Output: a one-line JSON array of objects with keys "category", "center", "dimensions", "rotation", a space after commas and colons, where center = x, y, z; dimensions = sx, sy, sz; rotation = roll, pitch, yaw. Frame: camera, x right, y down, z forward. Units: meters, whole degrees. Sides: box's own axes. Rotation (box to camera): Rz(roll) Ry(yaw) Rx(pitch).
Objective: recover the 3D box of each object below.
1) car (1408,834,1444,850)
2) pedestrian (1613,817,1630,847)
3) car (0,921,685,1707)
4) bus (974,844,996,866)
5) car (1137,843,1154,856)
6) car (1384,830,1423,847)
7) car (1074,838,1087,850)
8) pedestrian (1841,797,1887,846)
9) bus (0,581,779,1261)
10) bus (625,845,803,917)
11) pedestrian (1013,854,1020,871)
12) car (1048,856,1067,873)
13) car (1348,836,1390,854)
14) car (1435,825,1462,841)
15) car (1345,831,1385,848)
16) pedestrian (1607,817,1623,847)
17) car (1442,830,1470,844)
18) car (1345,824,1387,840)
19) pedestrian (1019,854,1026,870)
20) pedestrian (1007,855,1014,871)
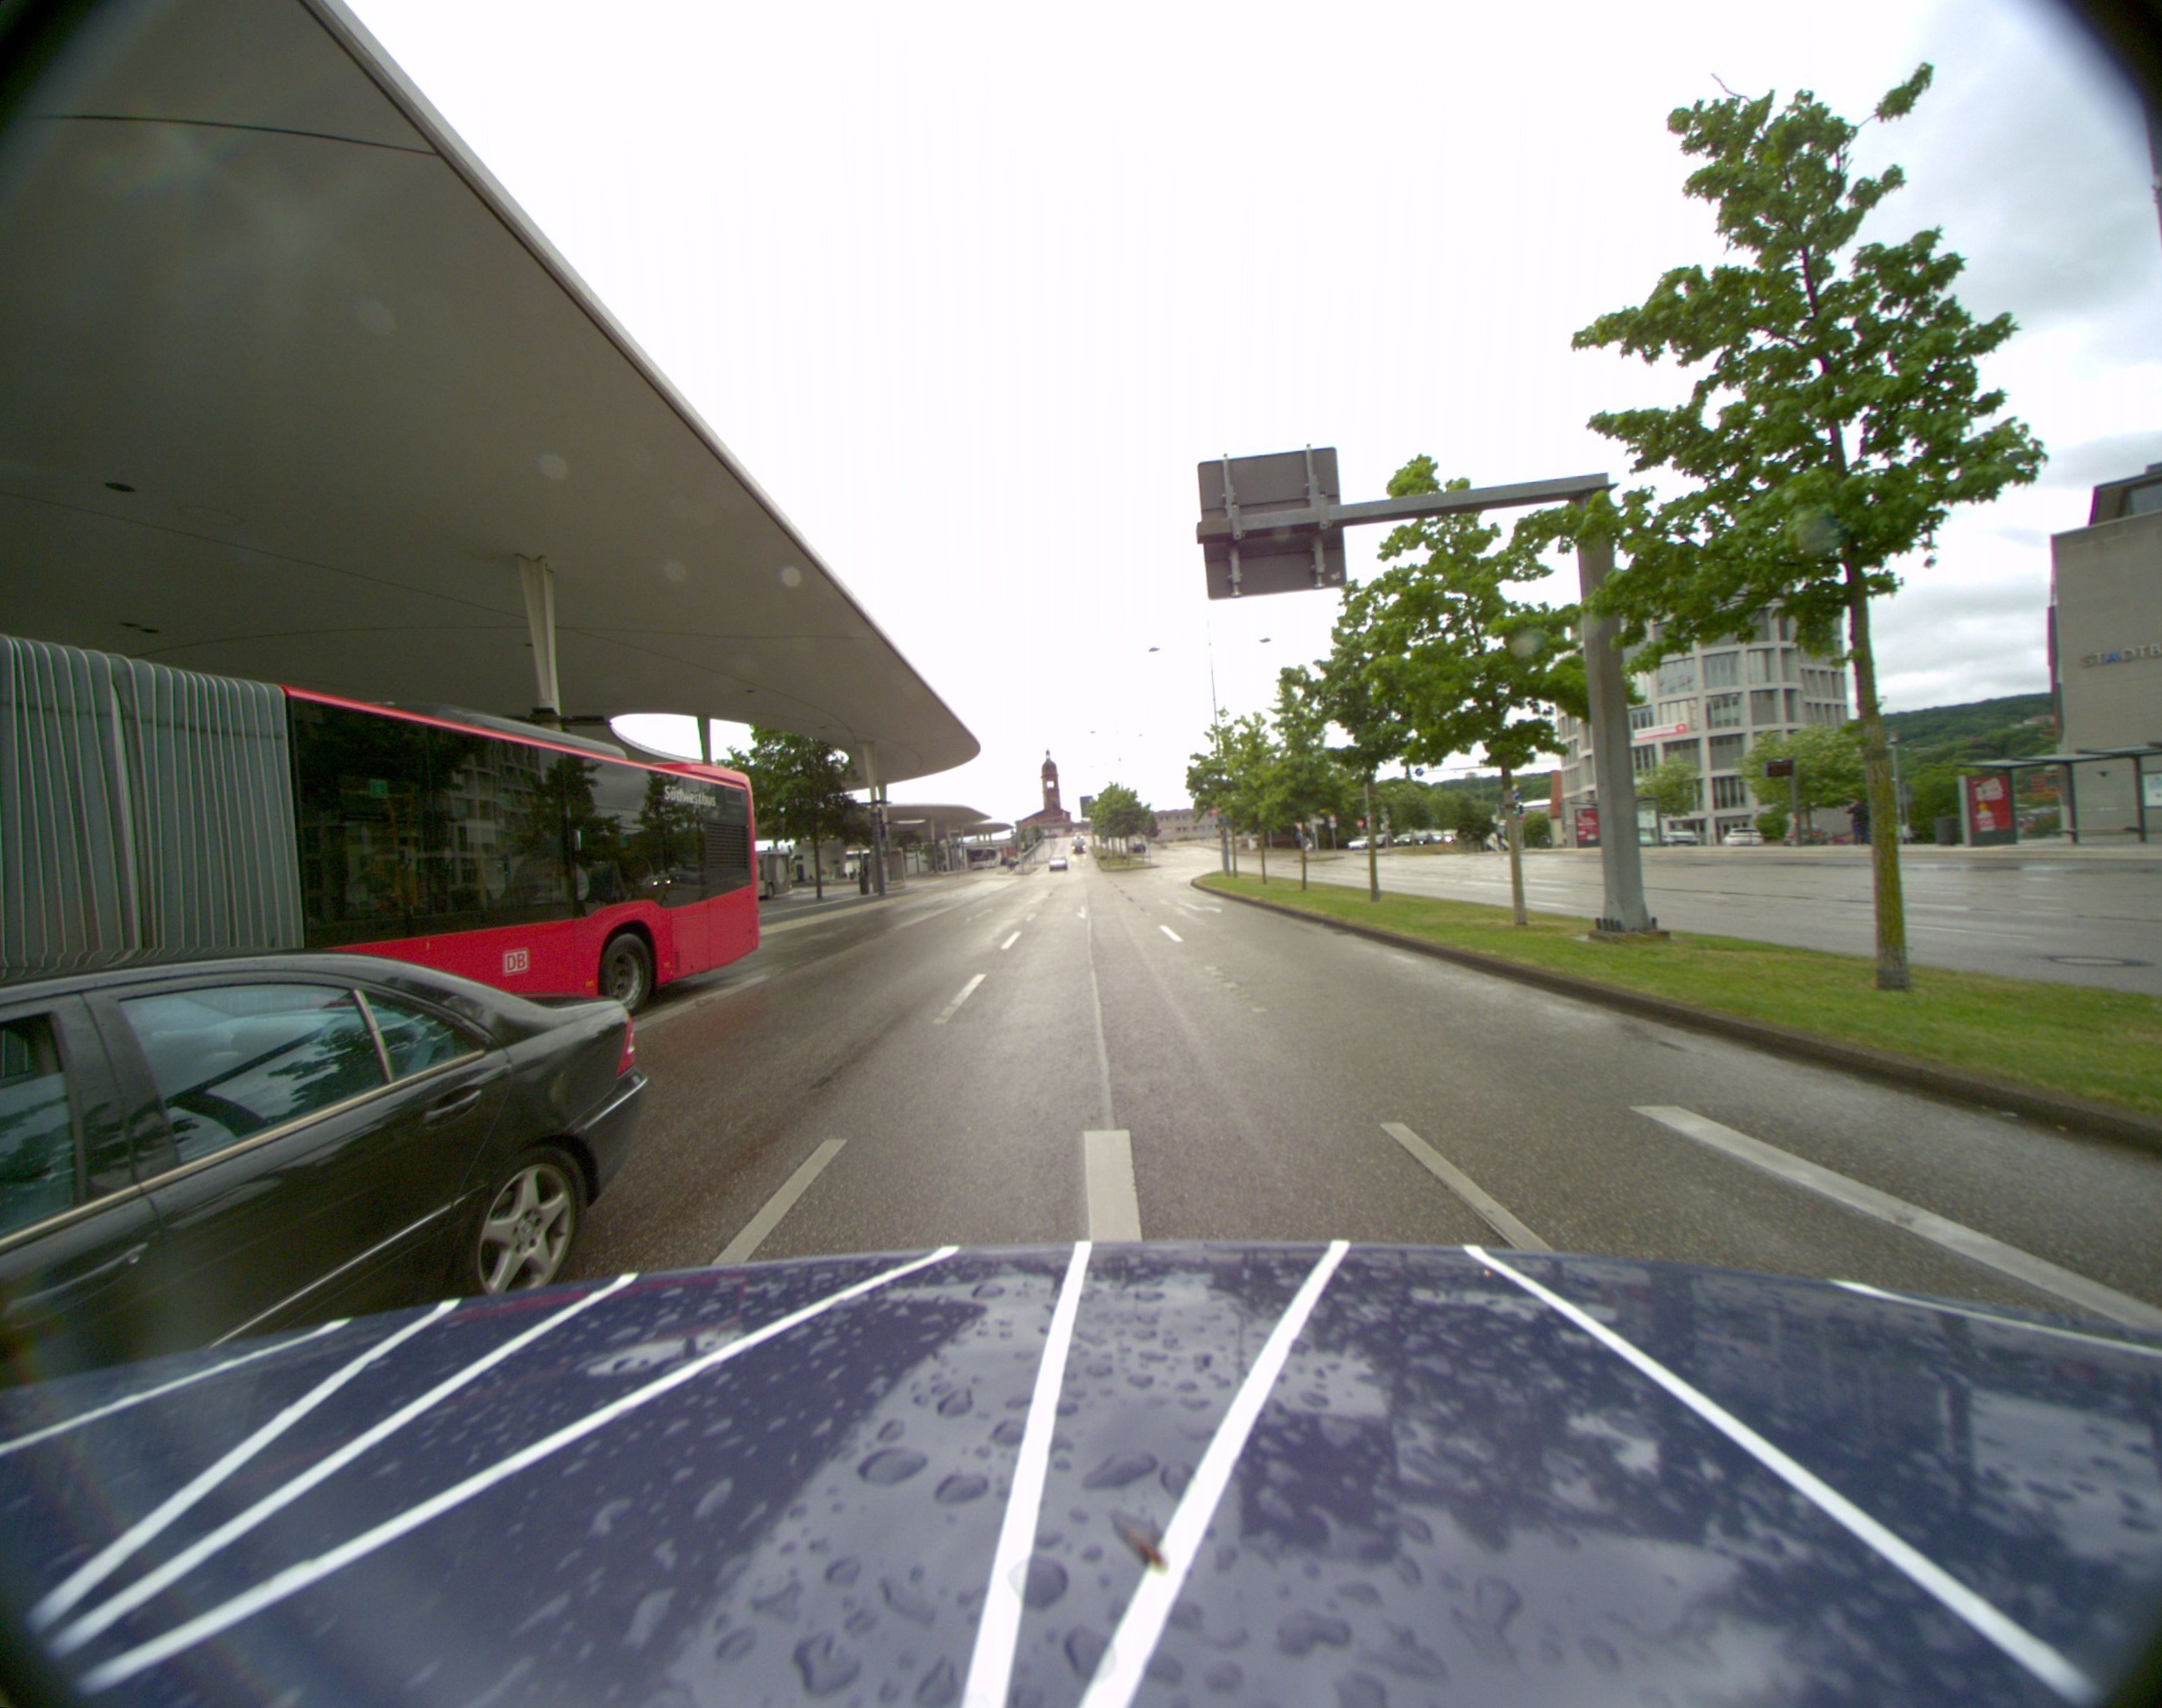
[{"category": "car", "center": [42.197, -1.441, 92.875], "dimensions": [4.925, 1.702, 2.190], "rotation": [-3, 1, -43]}, {"category": "pedestrian", "center": [30.069, -1.215, 42.242], "dimensions": [0.520, 1.625, 0.536], "rotation": [-2, 1, 1]}, {"category": "car", "center": [-2.815, 1.146, 1.316], "dimensions": [1.750, 1.471, 4.434], "rotation": [-4, 1, 1]}, {"category": "bus", "center": [-14.277, 0.134, 113.268], "dimensions": [2.675, 3.111, 9.712], "rotation": [-3, 0, -5]}, {"category": "car", "center": [9.167, -0.652, 108.032], "dimensions": [1.998, 1.765, 4.000], "rotation": [-3, 0, 1]}, {"category": "car", "center": [37.013, -1.757, 87.215], "dimensions": [4.925, 1.702, 2.190], "rotation": [-3, 1, -43]}, {"category": "car", "center": [-0.086, -1.470, 113.237], "dimensions": [1.704, 1.656, 3.998], "rotation": [-3, 1, -2]}, {"category": "pedestrian", "center": [29.164, -1.200, 28.315], "dimensions": [0.787, 1.750, 0.972], "rotation": [-3, 1, -28]}, {"category": "bus", "center": [-6.140, 0.359, 7.601], "dimensions": [2.750, 3.155, 8.120], "rotation": [-3, 0, 1]}, {"category": "bus", "center": [-19.938, 1.233, 42.773], "dimensions": [3.003, 3.088, 12.356], "rotation": [-7, 0, 4]}, {"category": "pedestrian", "center": [-6.408, 0.862, 75.306], "dimensions": [0.557, 1.614, 0.552], "rotation": [-3, 1, 1]}, {"category": "car", "center": [-2.273, 1.004, 73.788], "dimensions": [1.627, 1.450, 3.735], "rotation": [-3, 0, 1]}, {"category": "car", "center": [30.721, -0.967, 81.012], "dimensions": [4.925, 1.702, 2.190], "rotation": [-3, 1, -43]}, {"category": "car", "center": [47.266, -2.710, 97.679], "dimensions": [1.994, 2.002, 4.008], "rotation": [-2, 0, 44]}, {"category": "car", "center": [32.307, -1.633, 86.314], "dimensions": [4.925, 1.702, 2.190], "rotation": [-3, 1, -42]}, {"category": "pedestrian", "center": [29.520, -1.188, 42.009], "dimensions": [0.504, 1.625, 0.502], "rotation": [-2, 1, 1]}, {"category": "car", "center": [50.953, -2.304, 103.326], "dimensions": [2.193, 1.702, 4.920], "rotation": [-3, 0, 11]}, {"category": "car", "center": [40.123, -3.089, 107.016], "dimensions": [2.315, 2.002, 5.021], "rotation": [-3, 1, -41]}, {"category": "pedestrian", "center": [-5.820, 0.777, 75.033], "dimensions": [0.557, 1.614, 0.552], "rotation": [-3, 1, 1]}, {"category": "pedestrian", "center": [-6.970, 0.904, 75.306], "dimensions": [0.576, 1.614, 0.588], "rotation": [-3, 1, 1]}]
